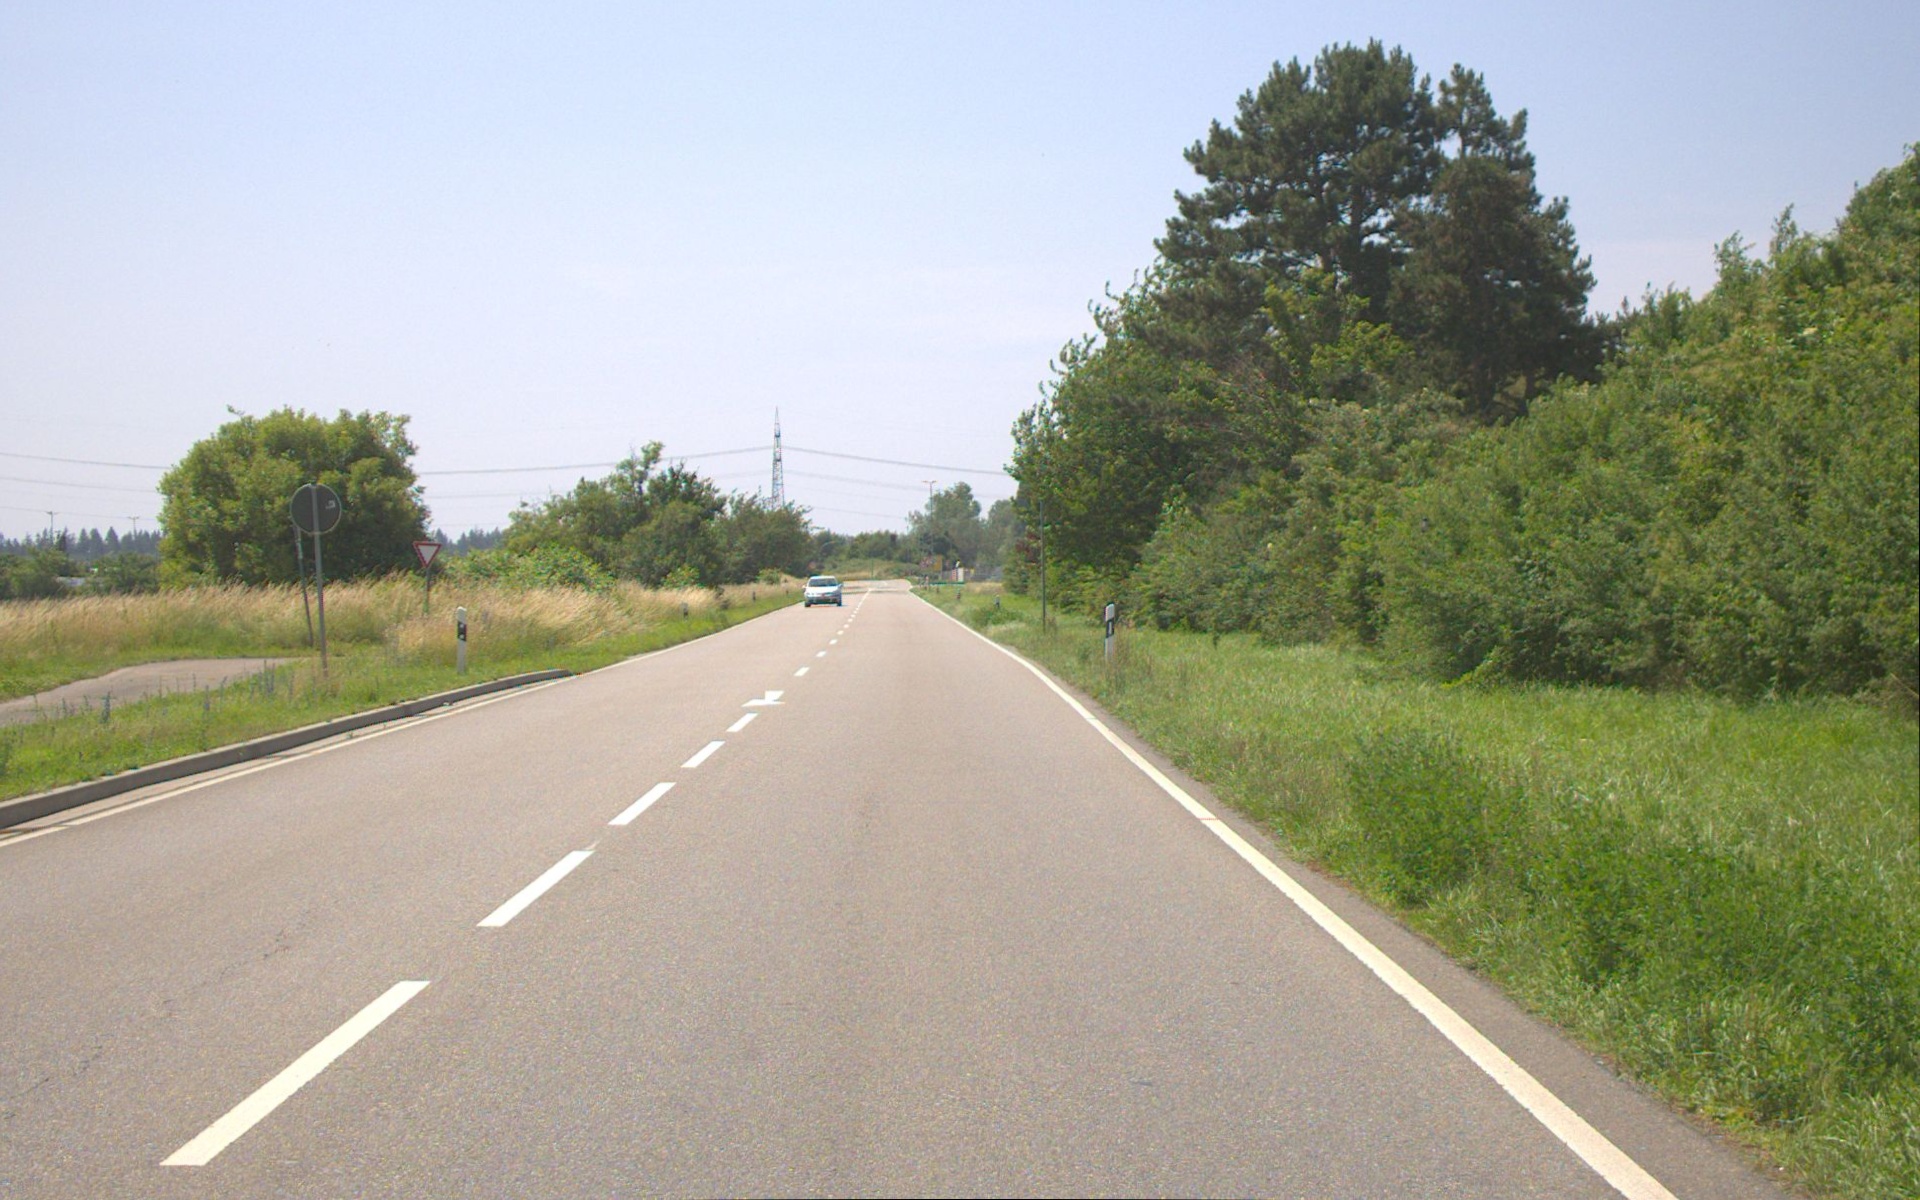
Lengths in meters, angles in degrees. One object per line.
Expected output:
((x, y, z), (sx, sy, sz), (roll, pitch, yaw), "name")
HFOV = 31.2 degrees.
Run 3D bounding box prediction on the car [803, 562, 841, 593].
((-6.627, -1.098, 165.460), (1.678, 1.416, 4.422), (-3, 1, -1), "car")
